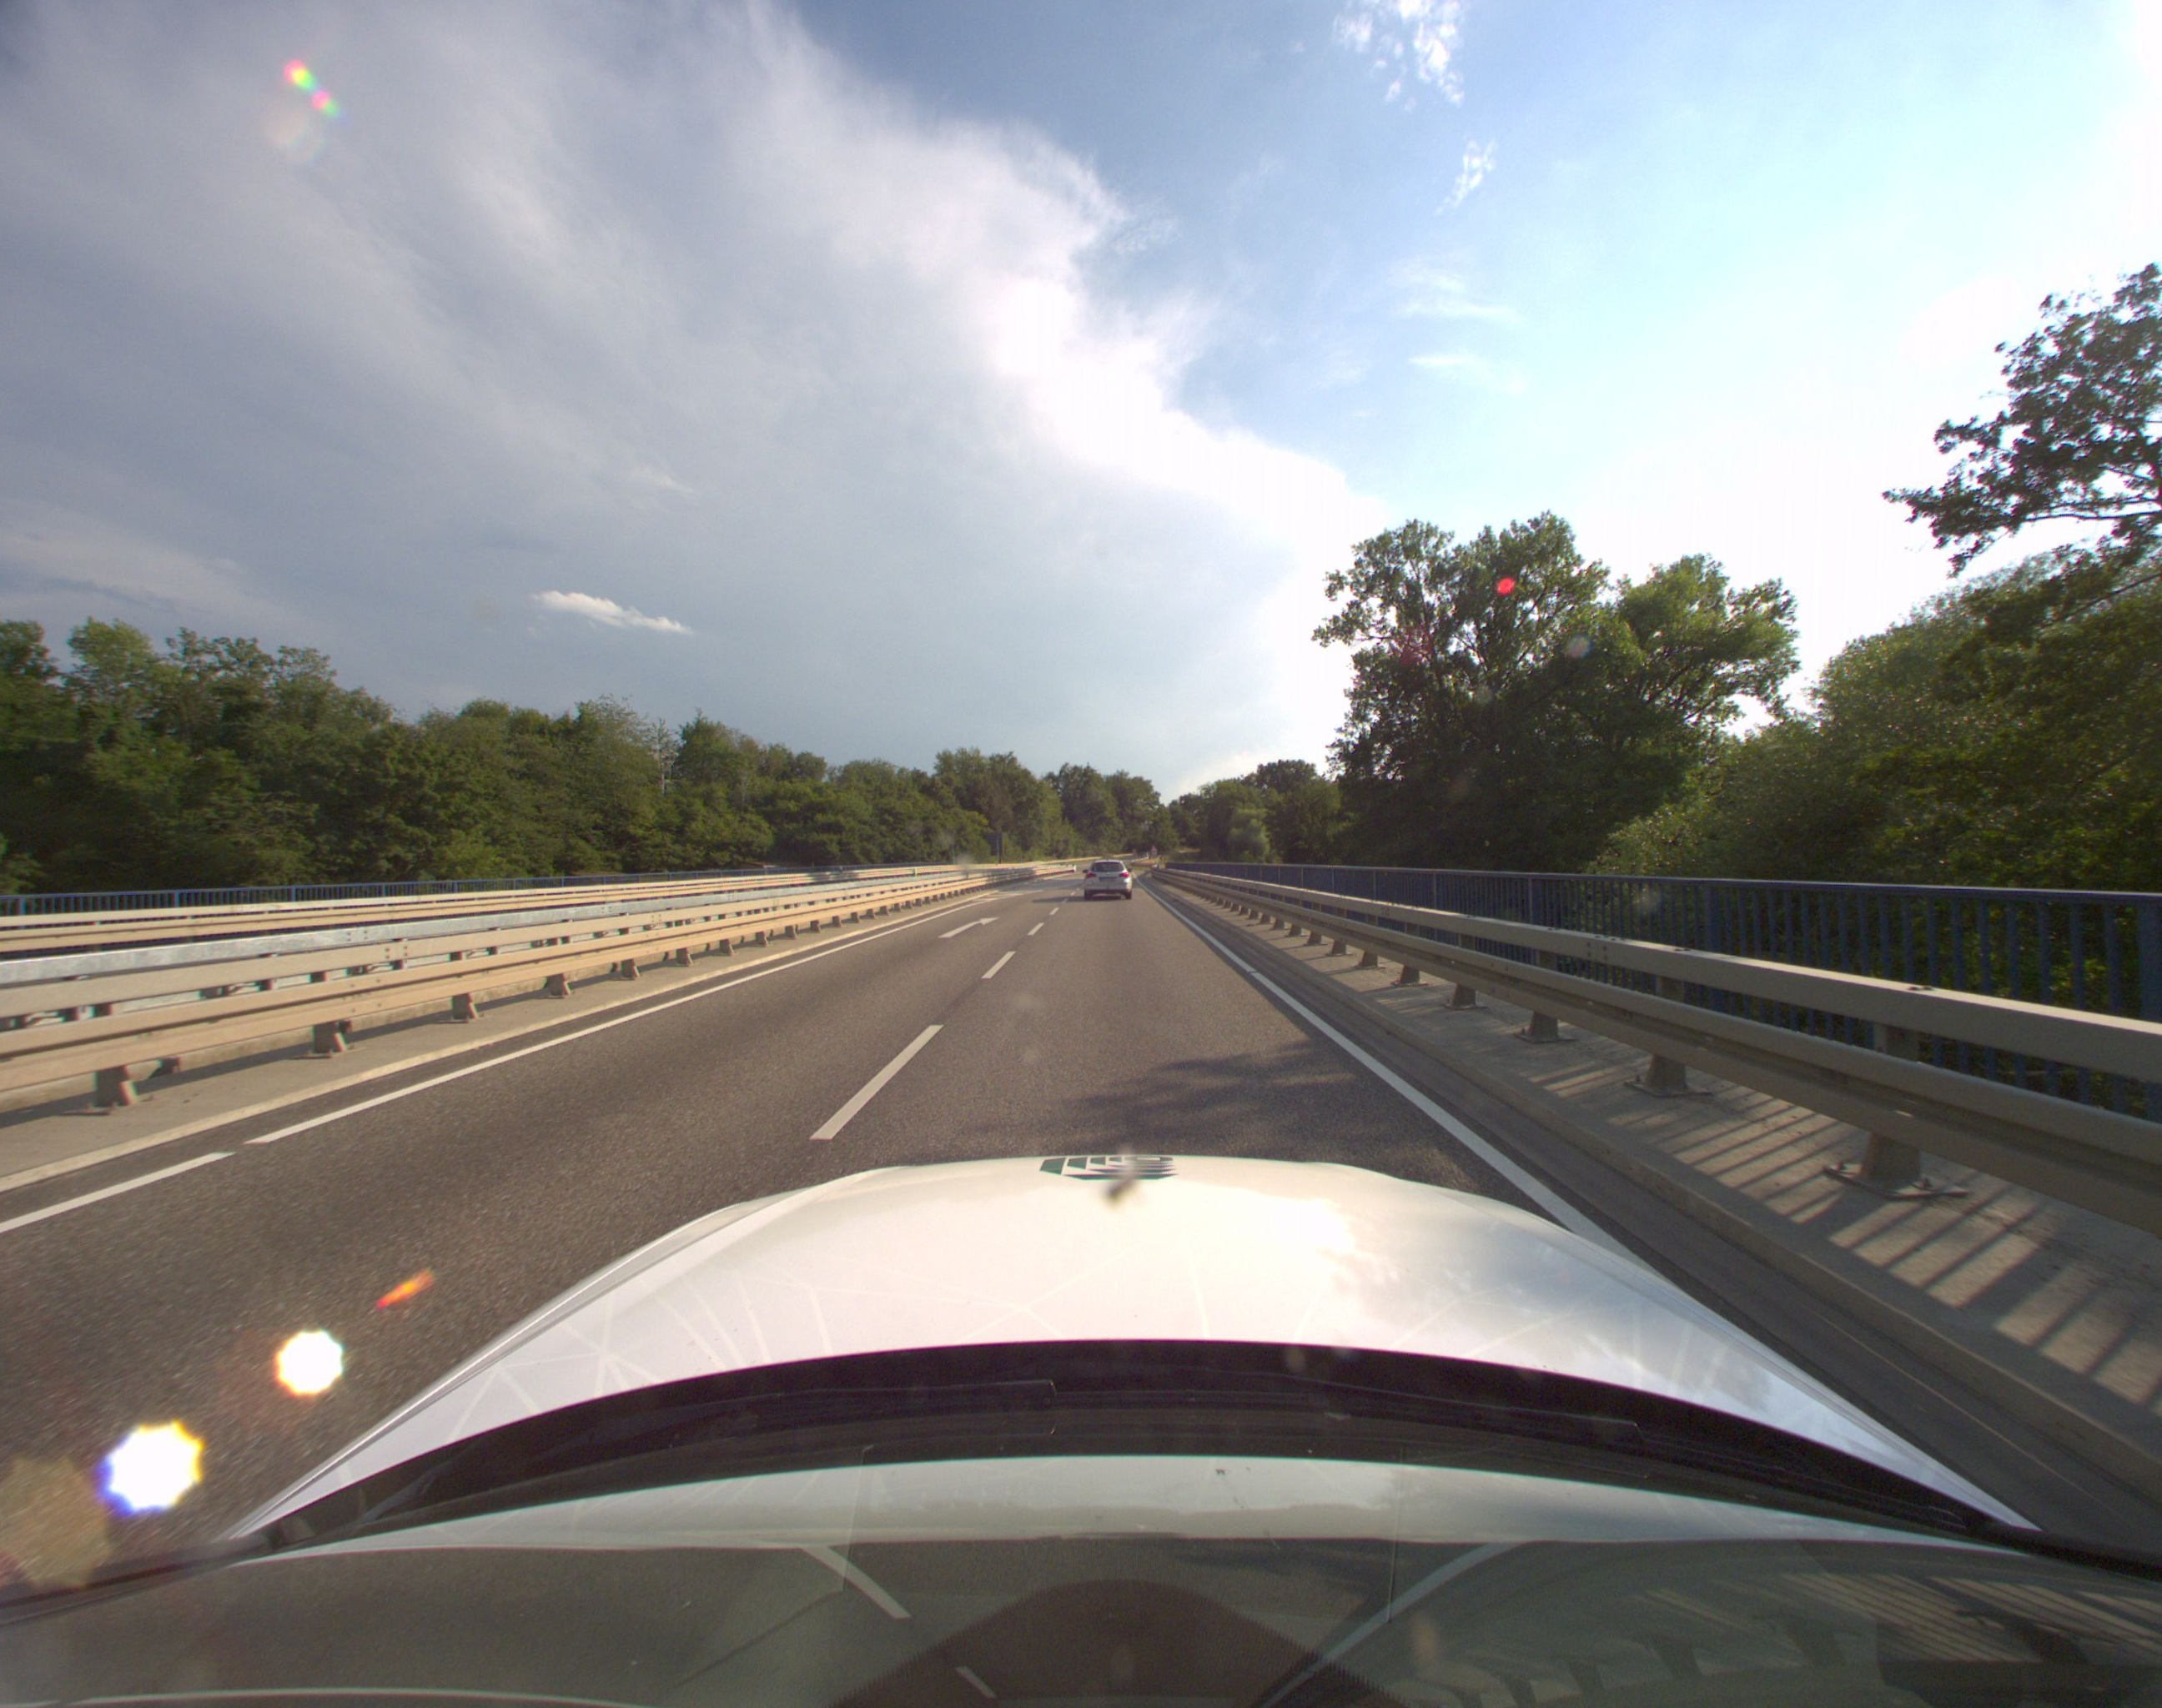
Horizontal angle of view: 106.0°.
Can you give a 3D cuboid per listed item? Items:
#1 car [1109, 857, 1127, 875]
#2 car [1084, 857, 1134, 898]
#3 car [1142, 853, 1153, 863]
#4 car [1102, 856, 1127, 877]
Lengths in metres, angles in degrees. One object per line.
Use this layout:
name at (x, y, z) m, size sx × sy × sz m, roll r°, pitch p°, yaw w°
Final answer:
car at (4.204, 1.361, 92.524) m, size 1.986 × 2.014 × 4.000 m, roll -1°, pitch -1°, yaw 1°
car at (1.076, 0.902, 31.499) m, size 1.802 × 1.486 × 4.001 m, roll -1°, pitch -1°, yaw 1°
car at (14.312, 0.878, 175.702) m, size 1.982 × 2.014 × 4.010 m, roll -1°, pitch -1°, yaw 9°
car at (2.454, 0.974, 60.649) m, size 1.802 × 1.486 × 4.001 m, roll -1°, pitch -1°, yaw 1°
